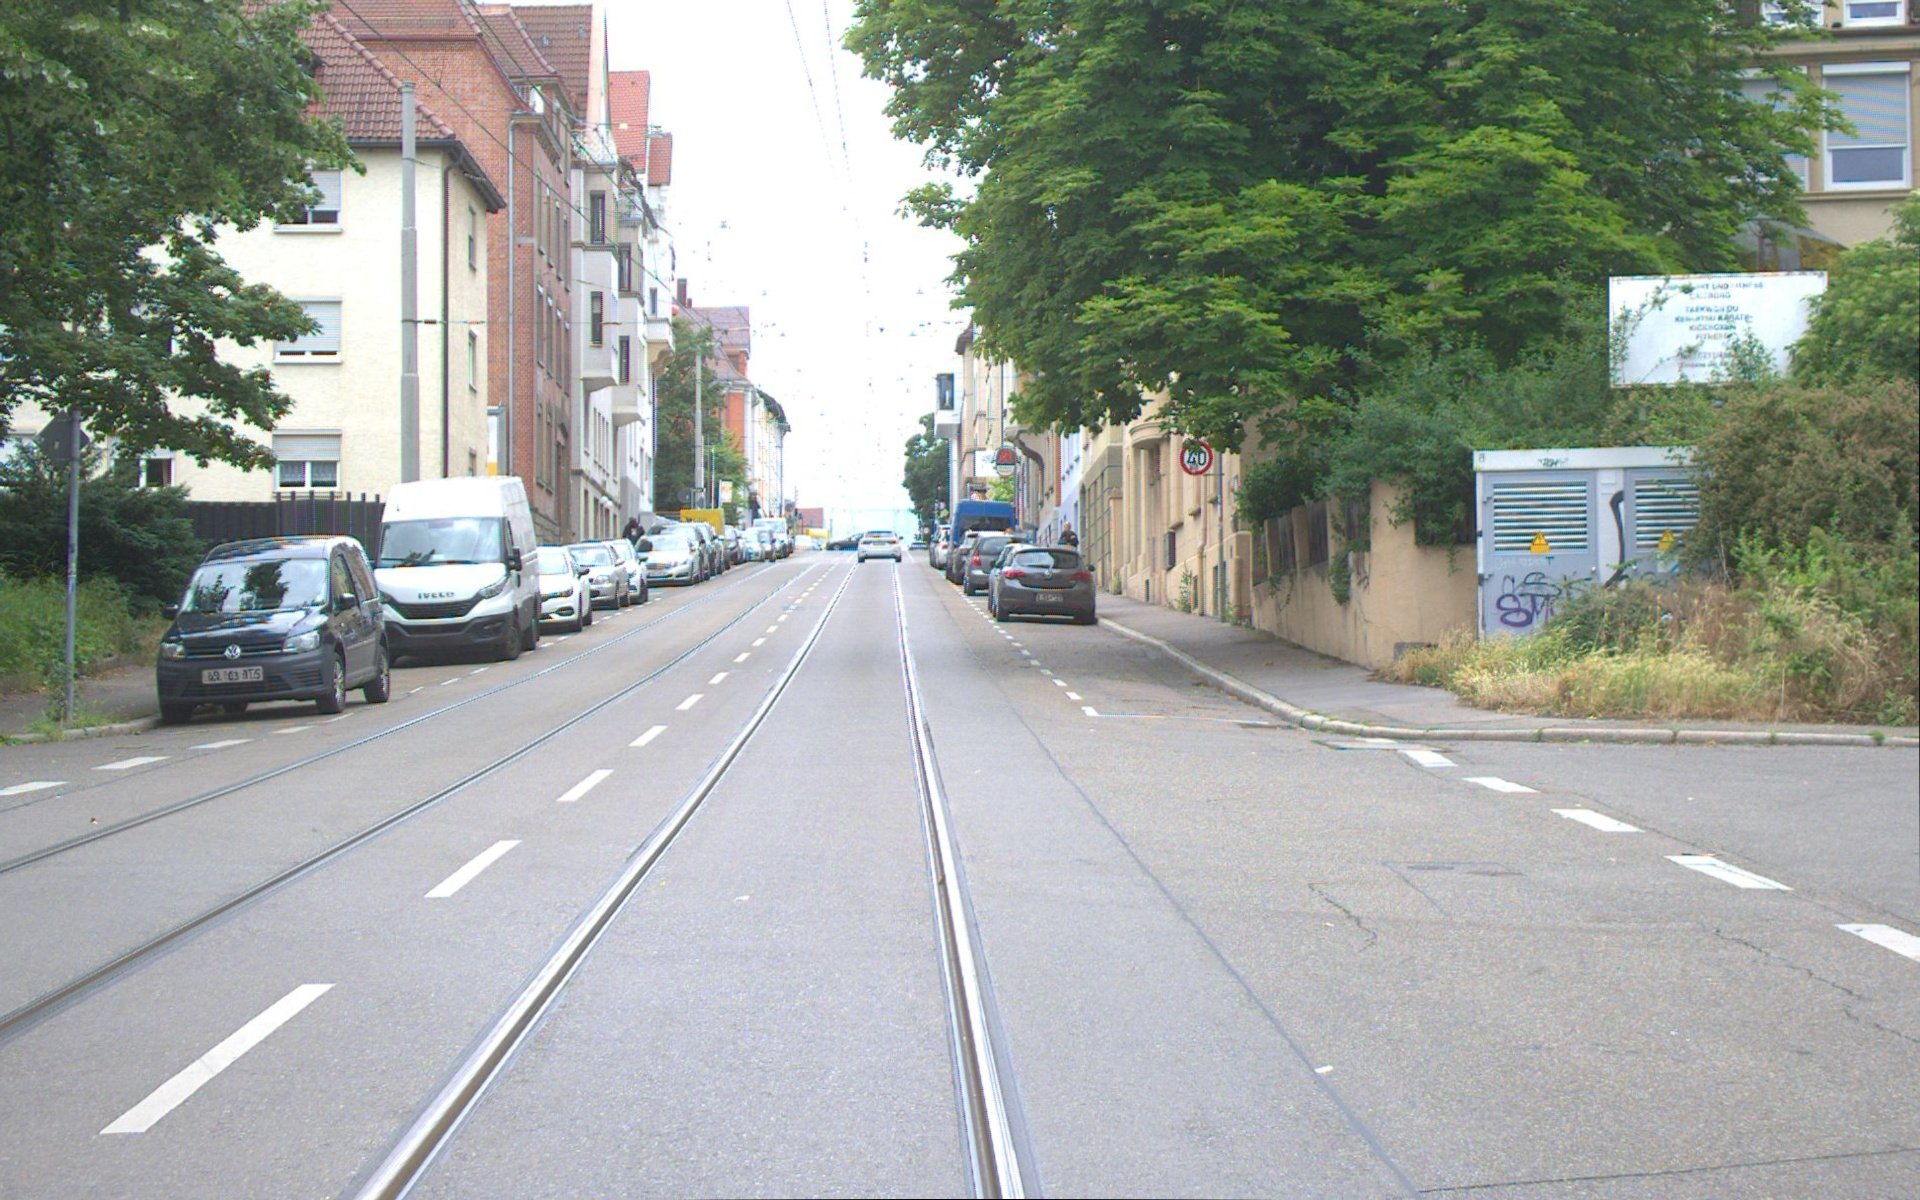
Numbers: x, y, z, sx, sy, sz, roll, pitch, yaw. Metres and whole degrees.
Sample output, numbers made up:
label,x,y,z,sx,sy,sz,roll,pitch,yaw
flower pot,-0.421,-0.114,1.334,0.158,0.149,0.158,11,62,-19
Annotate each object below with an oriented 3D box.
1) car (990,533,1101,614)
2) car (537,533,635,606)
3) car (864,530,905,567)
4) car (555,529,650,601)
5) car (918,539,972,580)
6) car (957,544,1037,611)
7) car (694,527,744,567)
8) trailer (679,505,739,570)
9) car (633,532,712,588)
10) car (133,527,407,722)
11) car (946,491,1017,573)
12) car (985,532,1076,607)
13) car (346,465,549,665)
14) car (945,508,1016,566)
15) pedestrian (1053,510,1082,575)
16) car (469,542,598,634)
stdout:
label,x,y,z,sx,sy,sz,roll,pitch,yaw
car,1.562,-0.502,63.953,1.839,1.398,4.168,2,1,-1
car,-7.914,-0.666,73.088,1.600,1.363,3.807,-4,2,0
car,-3.198,-2.186,145.529,1.672,1.508,3.798,0,1,-2
car,-8.041,-0.813,77.633,1.827,1.424,4.628,-4,2,-3
car,-0.556,-1.489,124.421,1.750,1.386,4.308,2,1,-2
car,0.897,-0.578,85.419,1.827,1.513,4.028,2,2,-1
car,-9.277,-2.053,132.570,1.697,1.463,3.023,-2,1,-1
trailer,-8.804,-2.215,120.831,1.748,2.148,4.071,-2,2,-1
car,-8.066,-1.145,96.841,1.827,1.424,4.839,-2,2,-1
car,-7.009,0.189,35.403,1.762,1.769,4.668,-3,1,0
car,0.612,-2.018,103.170,1.993,2.368,5.056,0,1,-1
car,1.418,-0.640,70.426,1.695,1.399,3.668,2,2,-1
car,-7.323,-0.558,49.777,2.158,2.598,6.220,-3,2,-3
car,0.557,-1.785,97.535,1.779,1.525,4.193,3,1,-2
pedestrian,2.853,-1.523,91.499,0.540,1.676,0.516,-4,-1,-9
car,-7.338,-0.235,59.498,1.719,1.398,4.314,-3,2,-1
